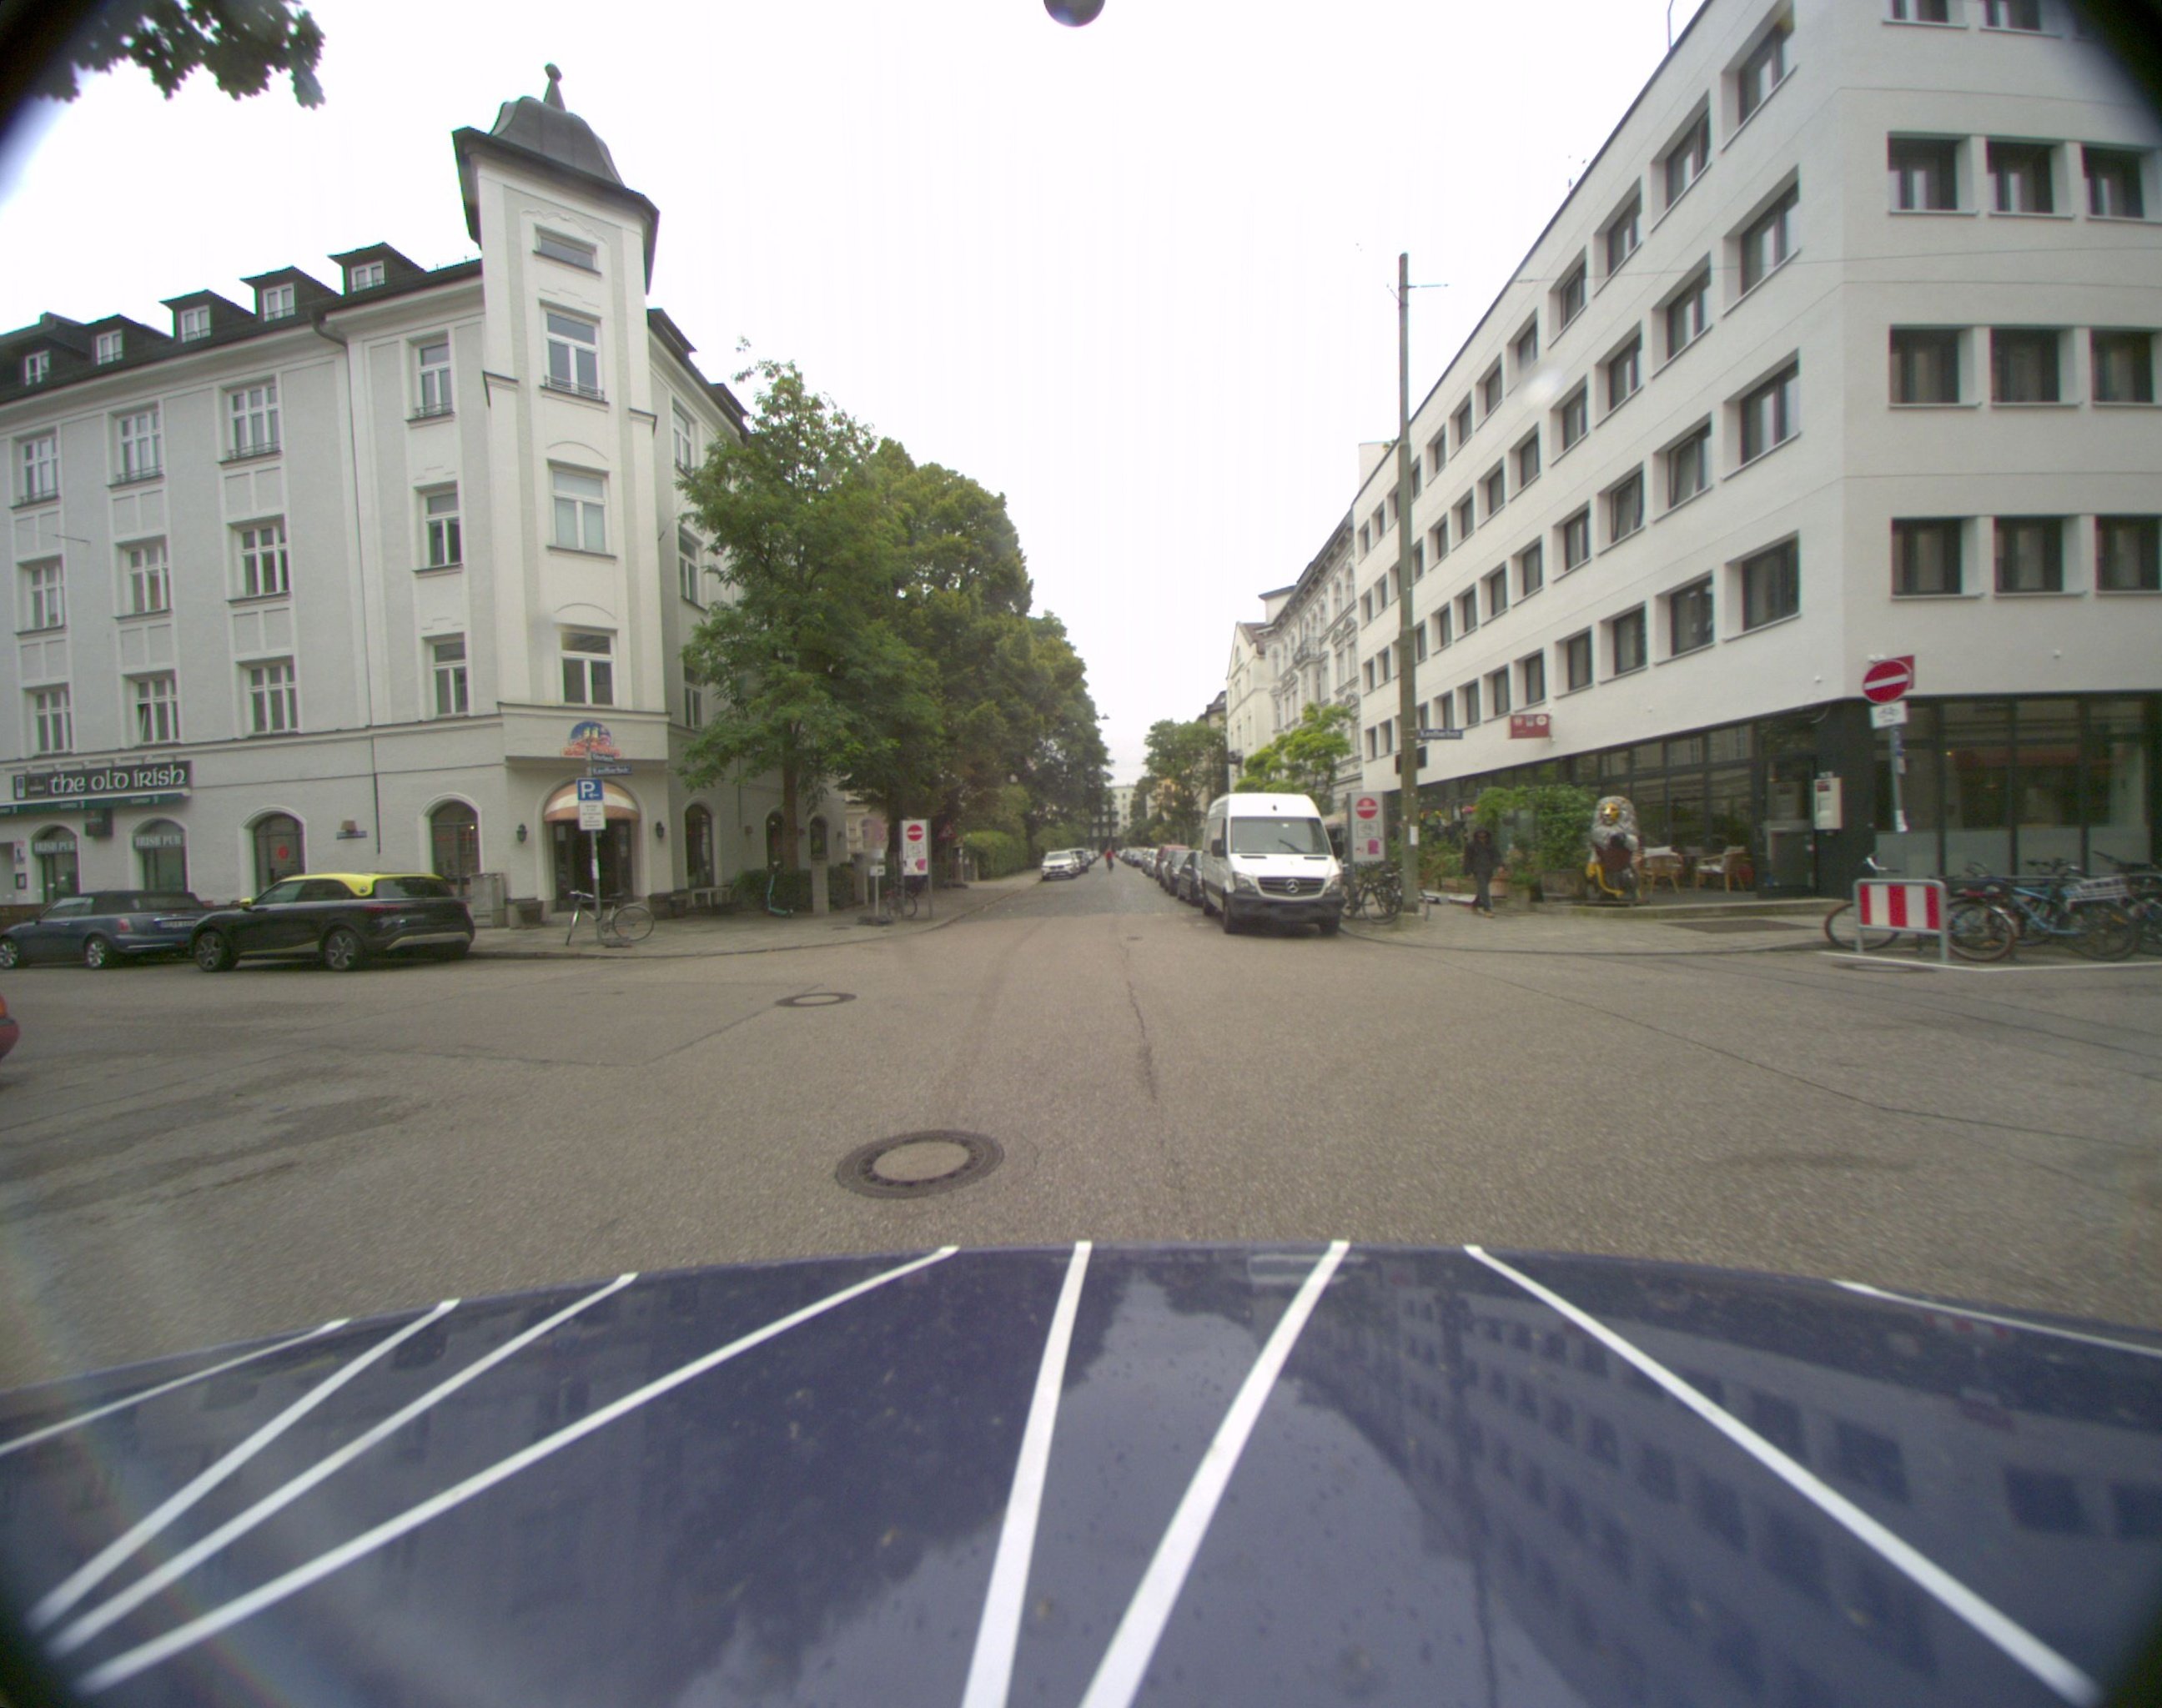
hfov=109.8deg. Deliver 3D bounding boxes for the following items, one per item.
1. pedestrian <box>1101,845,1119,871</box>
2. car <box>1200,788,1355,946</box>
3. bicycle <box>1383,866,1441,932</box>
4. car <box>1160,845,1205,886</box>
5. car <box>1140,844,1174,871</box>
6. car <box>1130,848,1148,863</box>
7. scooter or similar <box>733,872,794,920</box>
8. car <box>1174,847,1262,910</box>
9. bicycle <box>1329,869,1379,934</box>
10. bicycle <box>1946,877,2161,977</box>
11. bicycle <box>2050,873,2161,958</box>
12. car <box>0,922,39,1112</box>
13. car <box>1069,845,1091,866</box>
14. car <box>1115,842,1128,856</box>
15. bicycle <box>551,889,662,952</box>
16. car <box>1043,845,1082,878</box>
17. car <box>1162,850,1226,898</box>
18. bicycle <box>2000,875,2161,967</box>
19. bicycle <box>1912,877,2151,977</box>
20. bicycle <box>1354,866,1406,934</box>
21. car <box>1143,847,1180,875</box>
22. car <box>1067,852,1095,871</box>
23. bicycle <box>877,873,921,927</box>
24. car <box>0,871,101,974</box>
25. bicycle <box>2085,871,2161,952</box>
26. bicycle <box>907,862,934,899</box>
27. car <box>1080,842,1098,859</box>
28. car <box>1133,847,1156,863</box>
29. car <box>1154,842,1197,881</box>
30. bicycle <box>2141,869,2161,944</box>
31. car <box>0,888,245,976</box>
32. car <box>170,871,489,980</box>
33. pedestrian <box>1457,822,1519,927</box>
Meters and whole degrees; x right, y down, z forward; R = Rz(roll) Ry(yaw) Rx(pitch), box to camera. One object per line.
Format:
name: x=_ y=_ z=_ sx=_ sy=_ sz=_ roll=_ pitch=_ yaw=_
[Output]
pedestrian: x=1.988 y=0.269 z=52.172 sx=1.105 sy=1.768 sz=1.263 roll=-2 pitch=1 yaw=3
car: x=3.642 y=0.153 z=15.250 sx=1.981 sy=2.559 sz=5.794 roll=0 pitch=1 yaw=4
bicycle: x=6.127 y=0.803 z=14.138 sx=0.286 sy=1.085 sz=1.815 roll=-2 pitch=1 yaw=1
car: x=4.114 y=0.430 z=31.224 sx=1.696 sy=1.495 sz=3.778 roll=-2 pitch=1 yaw=6
car: x=4.766 y=0.176 z=48.040 sx=1.693 sy=1.563 sz=4.067 roll=-2 pitch=1 yaw=1
car: x=5.933 y=0.146 z=78.496 sx=1.713 sy=1.417 sz=4.000 roll=-2 pitch=1 yaw=3
scooter or similar: x=-8.019 y=1.035 z=19.179 sx=1.604 sy=1.166 sz=0.405 roll=-1 pitch=2 yaw=26
car: x=3.639 y=0.587 z=20.821 sx=1.665 sy=1.474 sz=3.981 roll=-2 pitch=1 yaw=0
bicycle: x=5.098 y=0.846 z=14.276 sx=0.286 sy=1.085 sz=1.815 roll=-2 pitch=1 yaw=1
bicycle: x=11.655 y=0.813 z=9.075 sx=0.398 sy=0.963 sz=1.893 roll=-2 pitch=1 yaw=-4
bicycle: x=13.129 y=0.755 z=9.161 sx=0.398 sy=0.963 sz=1.893 roll=-2 pitch=1 yaw=-4
car: x=-10.116 y=1.253 z=5.138 sx=4.475 sy=1.350 sz=1.761 roll=-2 pitch=1 yaw=10
car: x=-0.066 y=0.098 z=70.082 sx=1.818 sy=1.809 sz=4.808 roll=-1 pitch=1 yaw=1
car: x=6.118 y=-0.766 z=114.630 sx=1.762 sy=2.002 sz=4.000 roll=-2 pitch=1 yaw=3
bicycle: x=-8.963 y=1.247 z=14.398 sx=1.604 sy=1.064 sz=0.738 roll=0 pitch=5 yaw=5
car: x=-1.032 y=0.394 z=44.858 sx=1.925 sy=1.676 sz=4.633 roll=-2 pitch=2 yaw=3
car: x=3.810 y=0.615 z=26.231 sx=1.730 sy=1.456 sz=4.473 roll=0 pitch=1 yaw=3
bicycle: x=12.408 y=0.788 z=9.115 sx=0.398 sy=0.963 sz=1.893 roll=-2 pitch=1 yaw=-4
bicycle: x=11.190 y=0.813 z=9.060 sx=0.398 sy=0.963 sz=1.893 roll=-2 pitch=1 yaw=-4
bicycle: x=5.534 y=0.813 z=14.129 sx=0.256 sy=1.120 sz=1.806 roll=-2 pitch=1 yaw=1
car: x=4.504 y=0.375 z=42.917 sx=1.635 sy=1.386 sz=3.815 roll=-2 pitch=1 yaw=1
car: x=-0.046 y=0.517 z=56.447 sx=1.924 sy=1.290 sz=4.808 roll=-2 pitch=1 yaw=-1
bicycle: x=-4.315 y=1.073 z=18.107 sx=0.389 sy=1.140 sz=1.590 roll=-2 pitch=1 yaw=9
car: x=-22.976 y=1.425 z=15.699 sx=3.925 sy=1.958 sz=1.776 roll=-2 pitch=1 yaw=13
bicycle: x=13.611 y=0.733 z=9.174 sx=0.398 sy=0.963 sz=1.893 roll=-2 pitch=1 yaw=-4
bicycle: x=-5.691 y=0.931 z=27.017 sx=0.428 sy=1.191 sz=1.730 roll=3 pitch=2 yaw=3
car: x=1.008 y=-0.457 z=96.856 sx=1.998 sy=2.002 sz=4.000 roll=-2 pitch=1 yaw=3
car: x=5.845 y=0.082 z=70.480 sx=1.885 sy=1.411 sz=4.809 roll=-2 pitch=1 yaw=3
car: x=4.486 y=0.321 z=36.642 sx=1.721 sy=1.713 sz=3.898 roll=-1 pitch=1 yaw=2
bicycle: x=14.407 y=0.704 z=9.206 sx=0.398 sy=0.963 sz=1.893 roll=-2 pitch=1 yaw=-4
car: x=-18.345 y=1.451 z=14.469 sx=3.534 sy=1.417 sz=1.702 roll=-2 pitch=1 yaw=14
car: x=-12.913 y=1.208 z=13.178 sx=4.081 sy=1.588 sz=1.907 roll=-2 pitch=1 yaw=12
pedestrian: x=7.389 y=0.353 z=13.821 sx=0.615 sy=1.830 sz=0.813 roll=-2 pitch=2 yaw=-4
